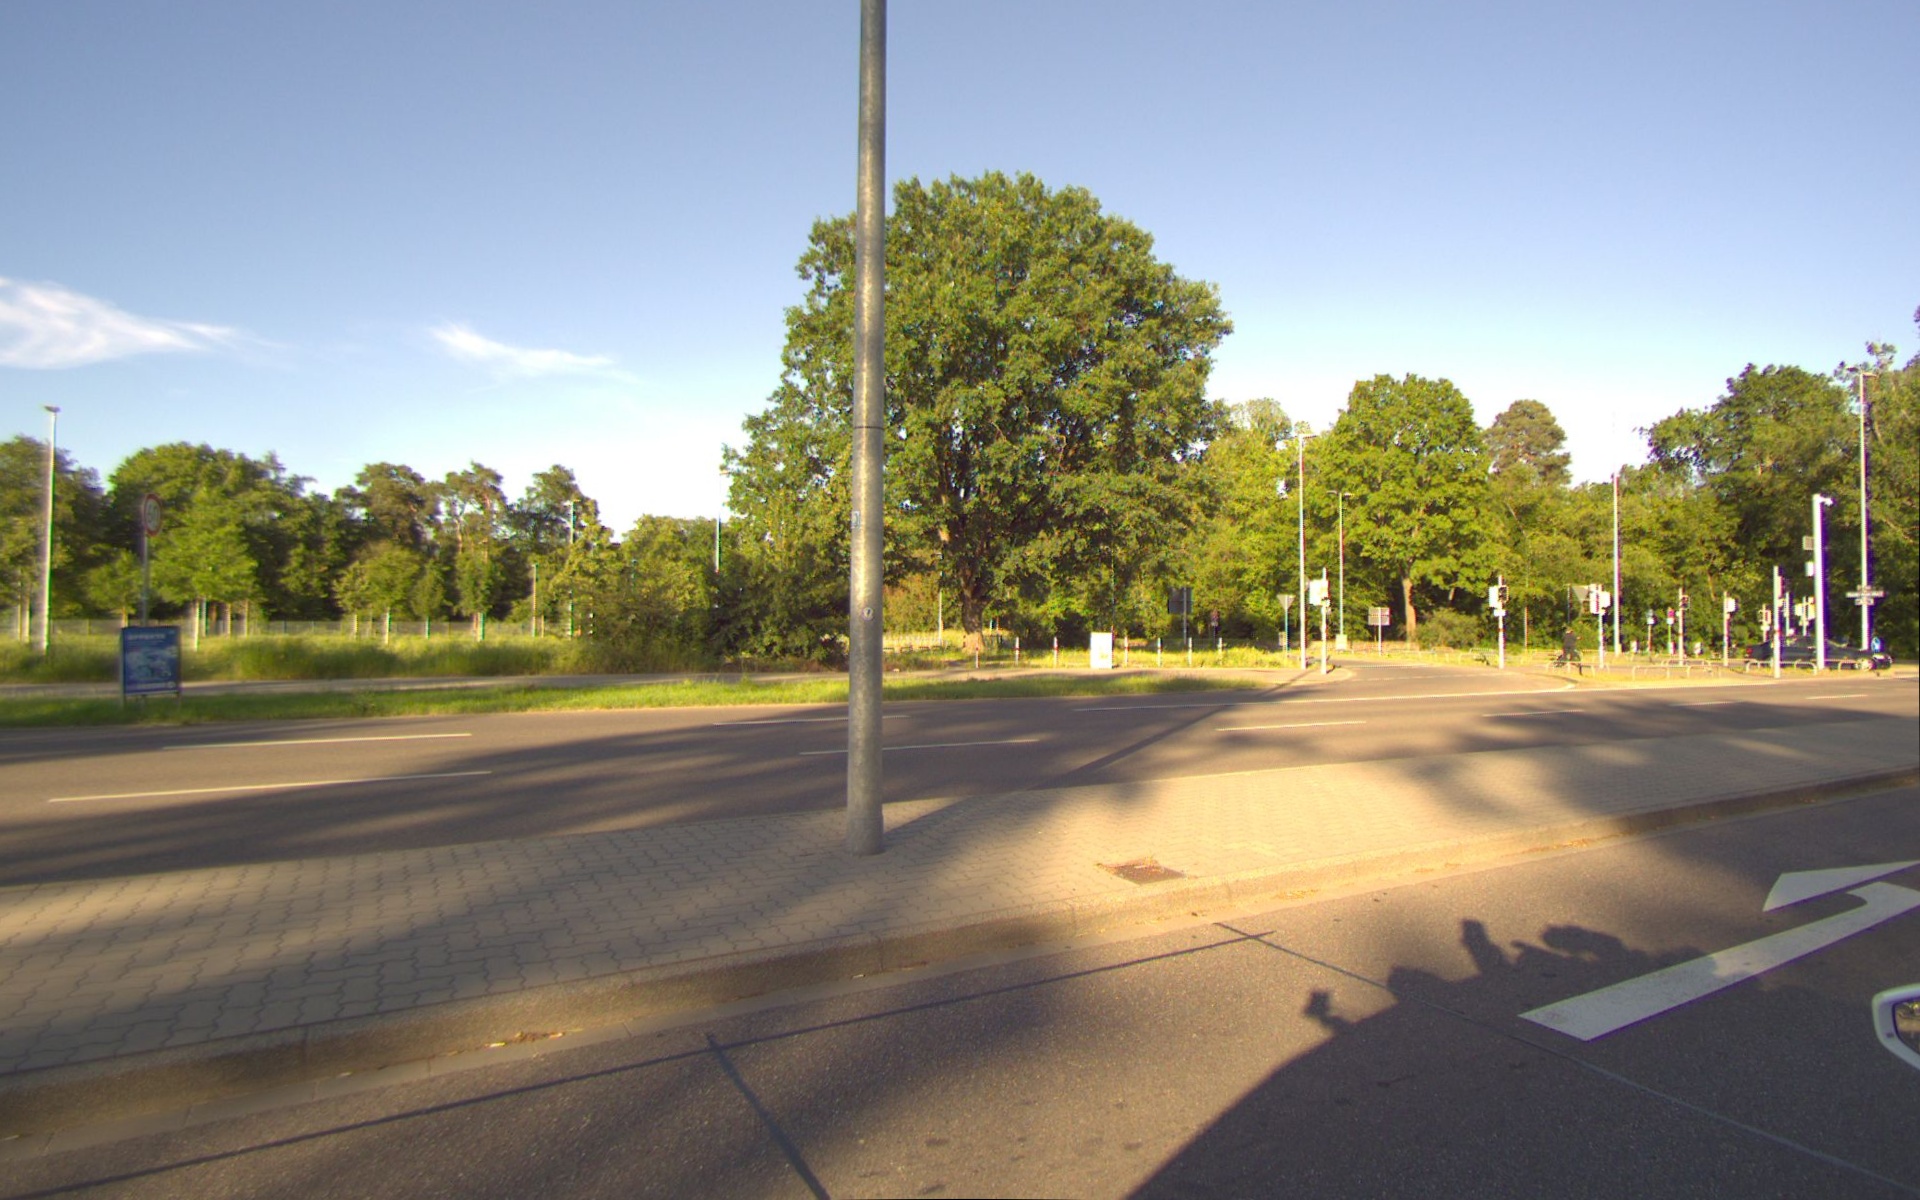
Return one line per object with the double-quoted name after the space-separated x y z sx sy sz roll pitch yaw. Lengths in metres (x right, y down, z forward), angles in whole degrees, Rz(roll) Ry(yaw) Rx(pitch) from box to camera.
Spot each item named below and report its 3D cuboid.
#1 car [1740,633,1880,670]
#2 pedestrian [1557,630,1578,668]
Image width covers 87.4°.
33.680 2.015 39.873 1.740 1.405 4.063 2 -3 -43 "car"
25.732 2.072 42.563 0.636 1.580 0.539 0 -2 18 "pedestrian"
